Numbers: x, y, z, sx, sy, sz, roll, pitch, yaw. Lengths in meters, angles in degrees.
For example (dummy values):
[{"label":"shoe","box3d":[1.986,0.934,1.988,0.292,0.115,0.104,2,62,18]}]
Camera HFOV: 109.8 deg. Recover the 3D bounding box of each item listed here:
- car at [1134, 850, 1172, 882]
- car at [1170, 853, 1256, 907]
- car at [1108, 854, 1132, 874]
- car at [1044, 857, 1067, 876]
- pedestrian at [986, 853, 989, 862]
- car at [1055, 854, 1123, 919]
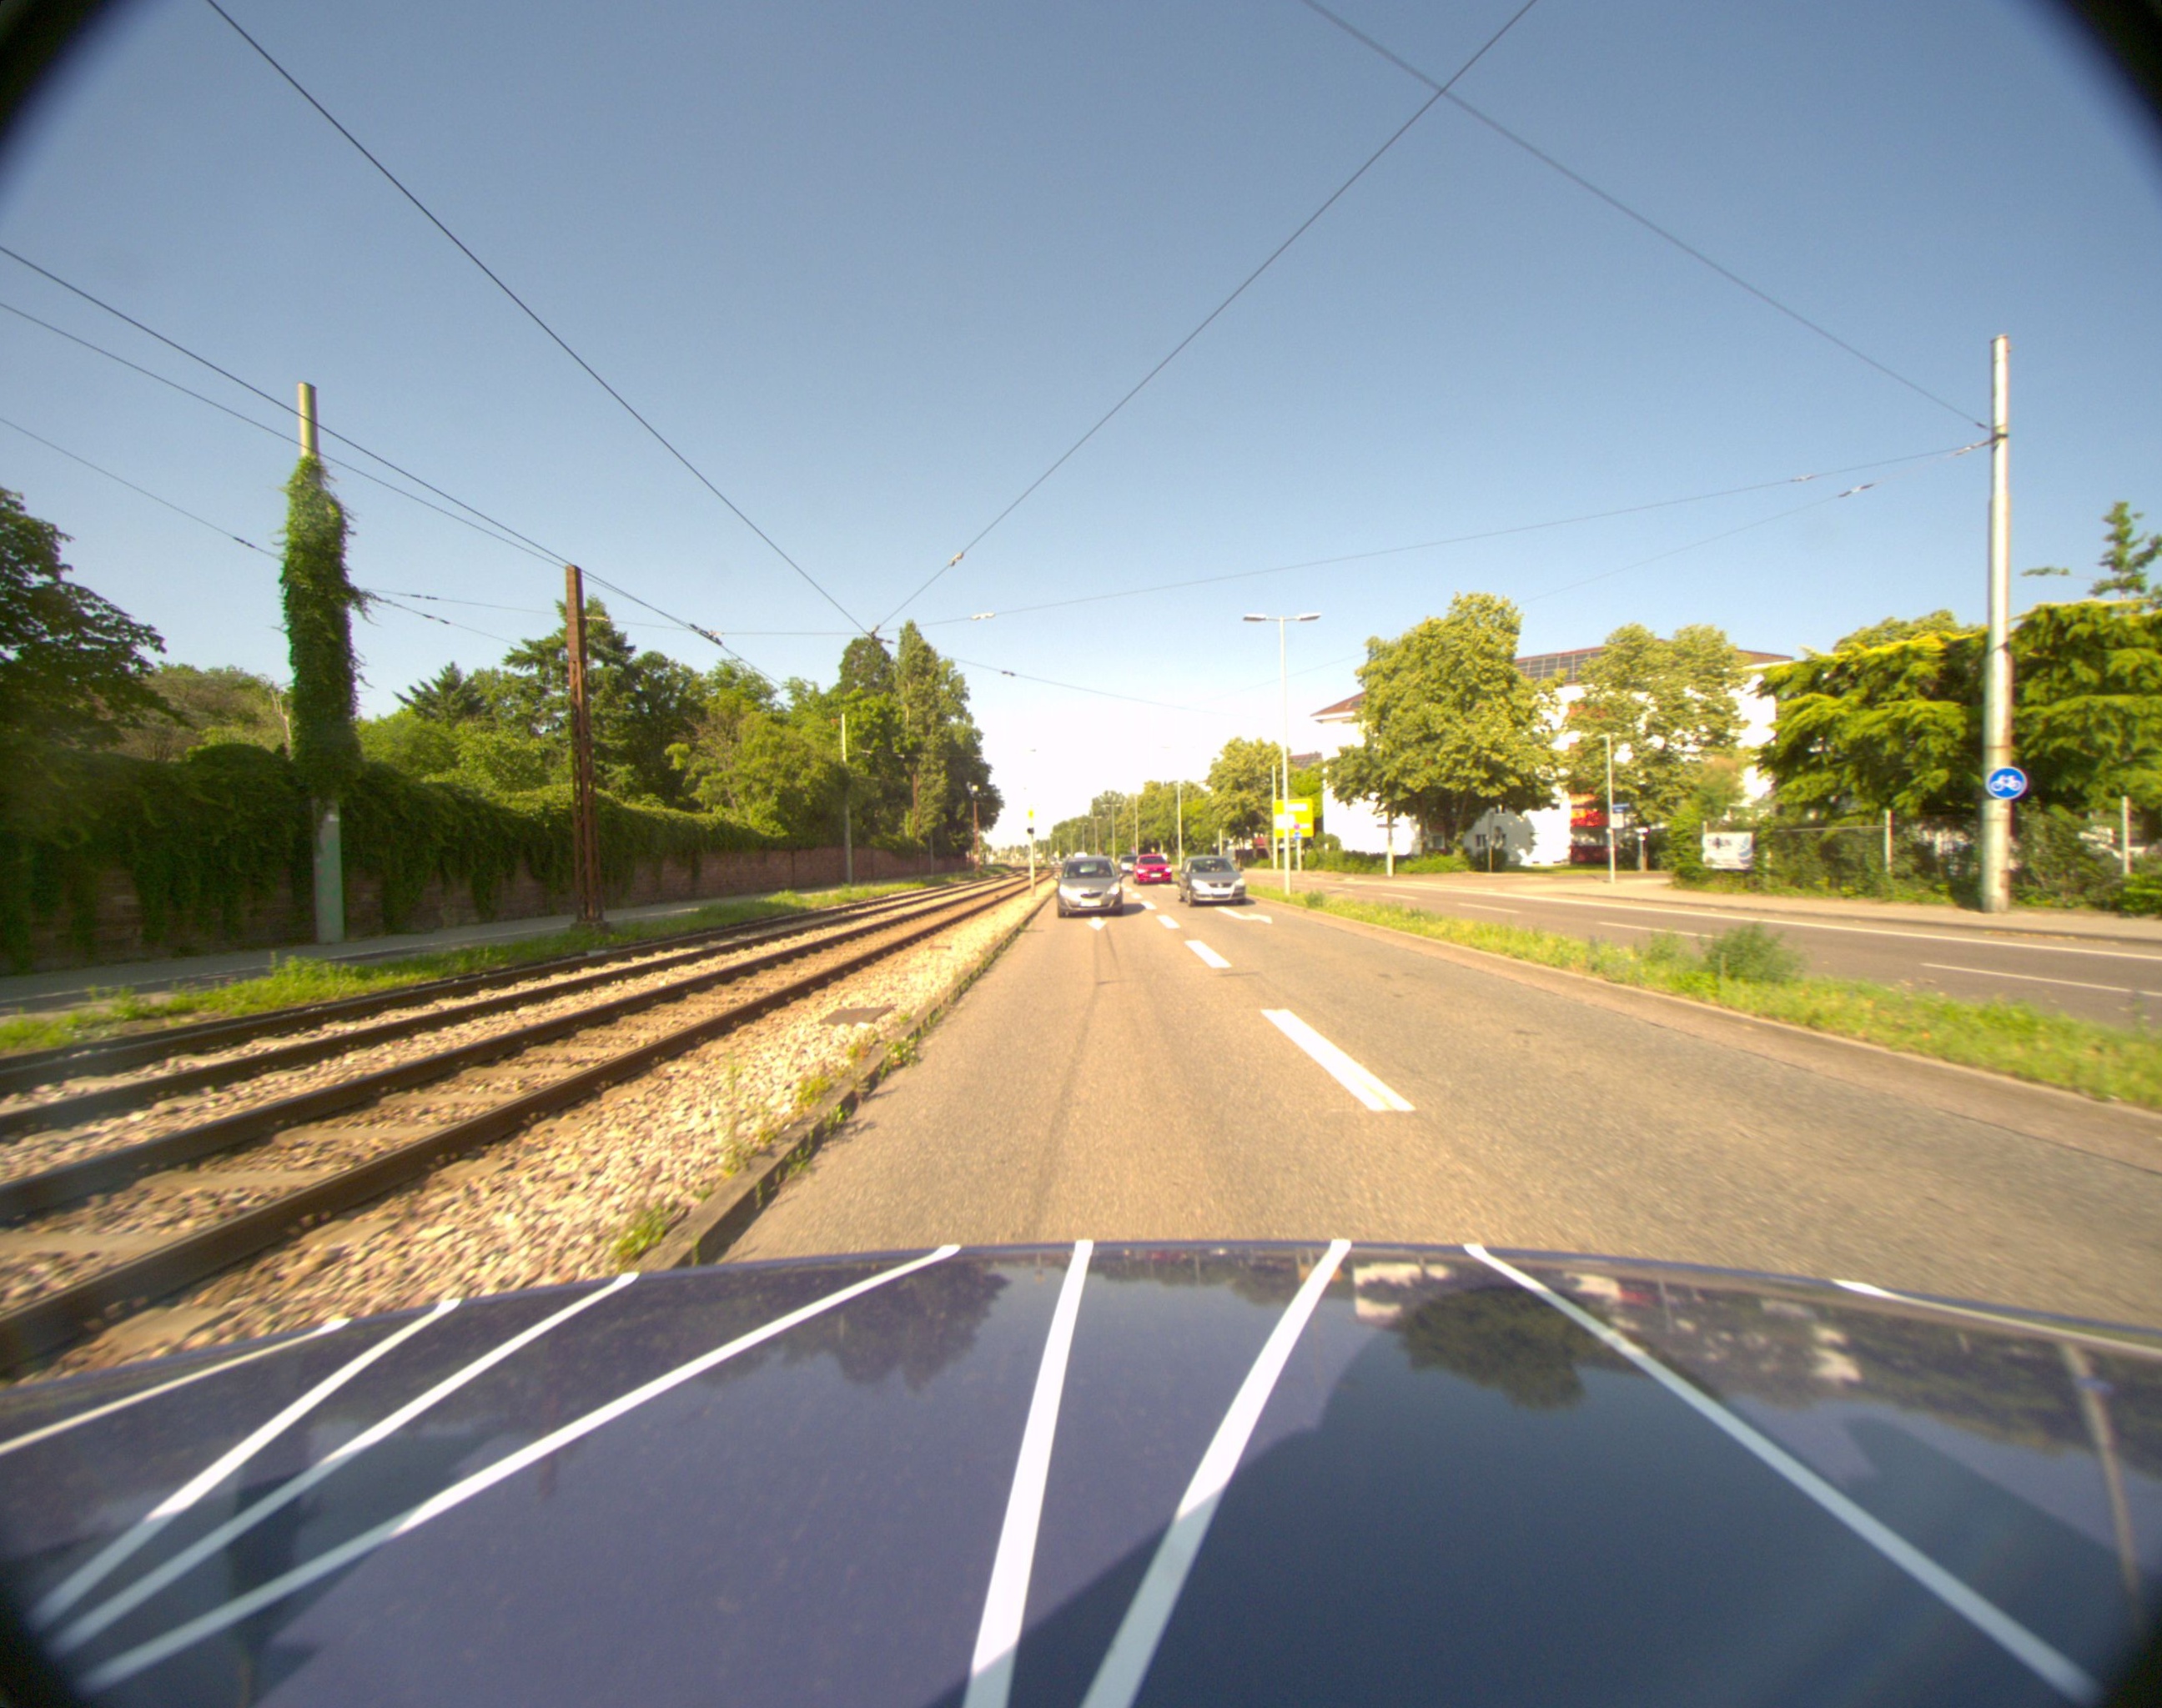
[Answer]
[{"label":"car","box3d":[3.853,0.631,41.130,1.692,1.573,3.833,-2,0,0]},{"label":"car","box3d":[3.904,0.726,23.054,1.693,1.420,3.832,-2,0,-4]},{"label":"car","box3d":[3.100,0.796,61.522,1.710,1.513,3.833,-2,0,0]},{"label":"car","box3d":[-2.125,1.041,64.527,1.710,1.513,3.833,-2,0,0]},{"label":"pedestrian","box3d":[-17.743,0.706,143.884,0.501,1.706,0.885,-1,0,2]},{"label":"car","box3d":[0.219,0.820,21.023,1.650,1.581,3.833,-2,0,0]}]
